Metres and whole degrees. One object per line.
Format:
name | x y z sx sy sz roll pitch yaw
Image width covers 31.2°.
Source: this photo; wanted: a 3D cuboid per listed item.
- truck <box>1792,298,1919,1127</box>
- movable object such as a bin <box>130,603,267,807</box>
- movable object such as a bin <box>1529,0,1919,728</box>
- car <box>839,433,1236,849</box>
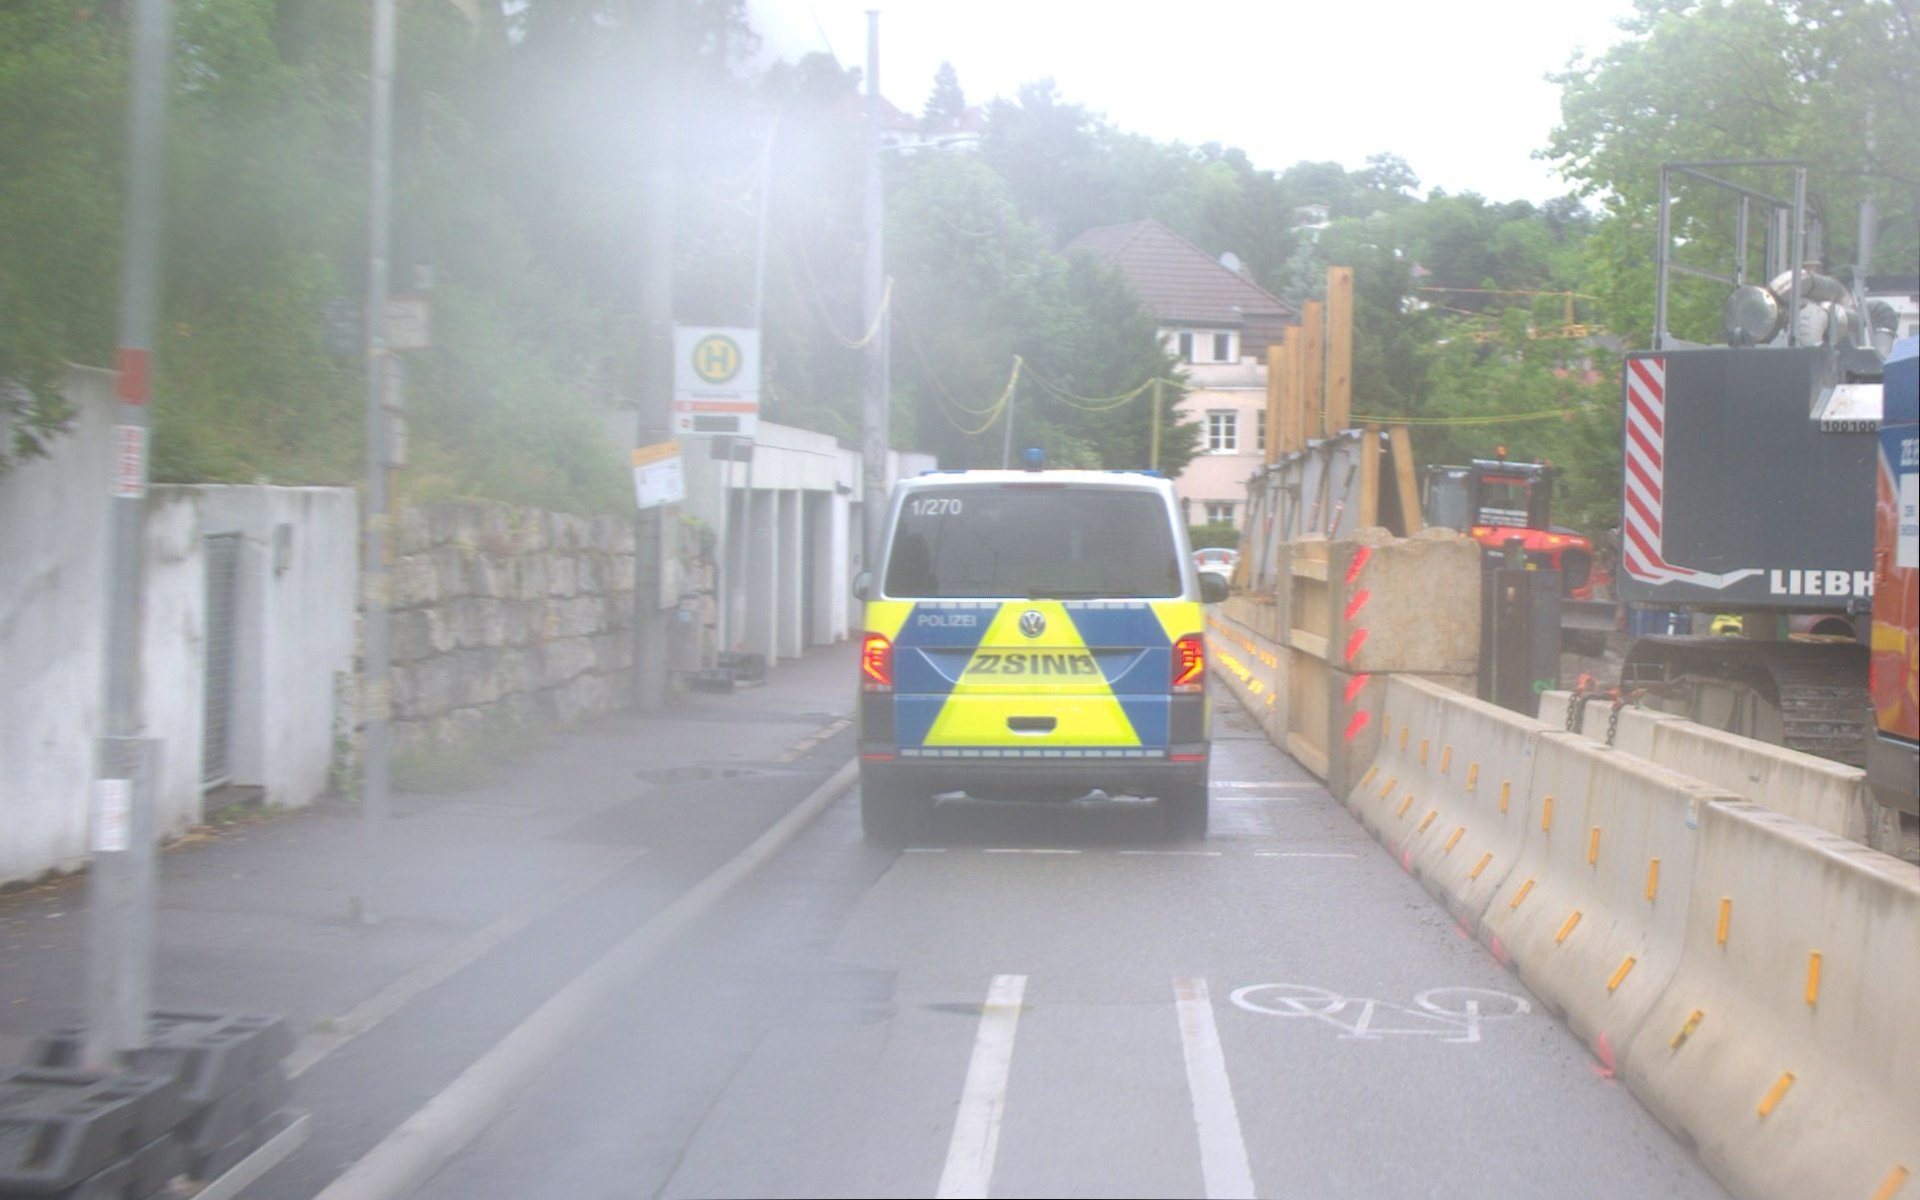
truck | 3.705 0.294 8.528 2.551 2.101 3.304 1 0 2
movable object such as a bin | -3.732 0.507 16.870 0.507 0.961 0.498 3 0 2
movable object such as a bin | 6.677 -1.820 21.795 3.689 5.049 7.150 1 0 30
car | 0.453 0.204 19.494 1.908 2.003 4.439 3 0 2
